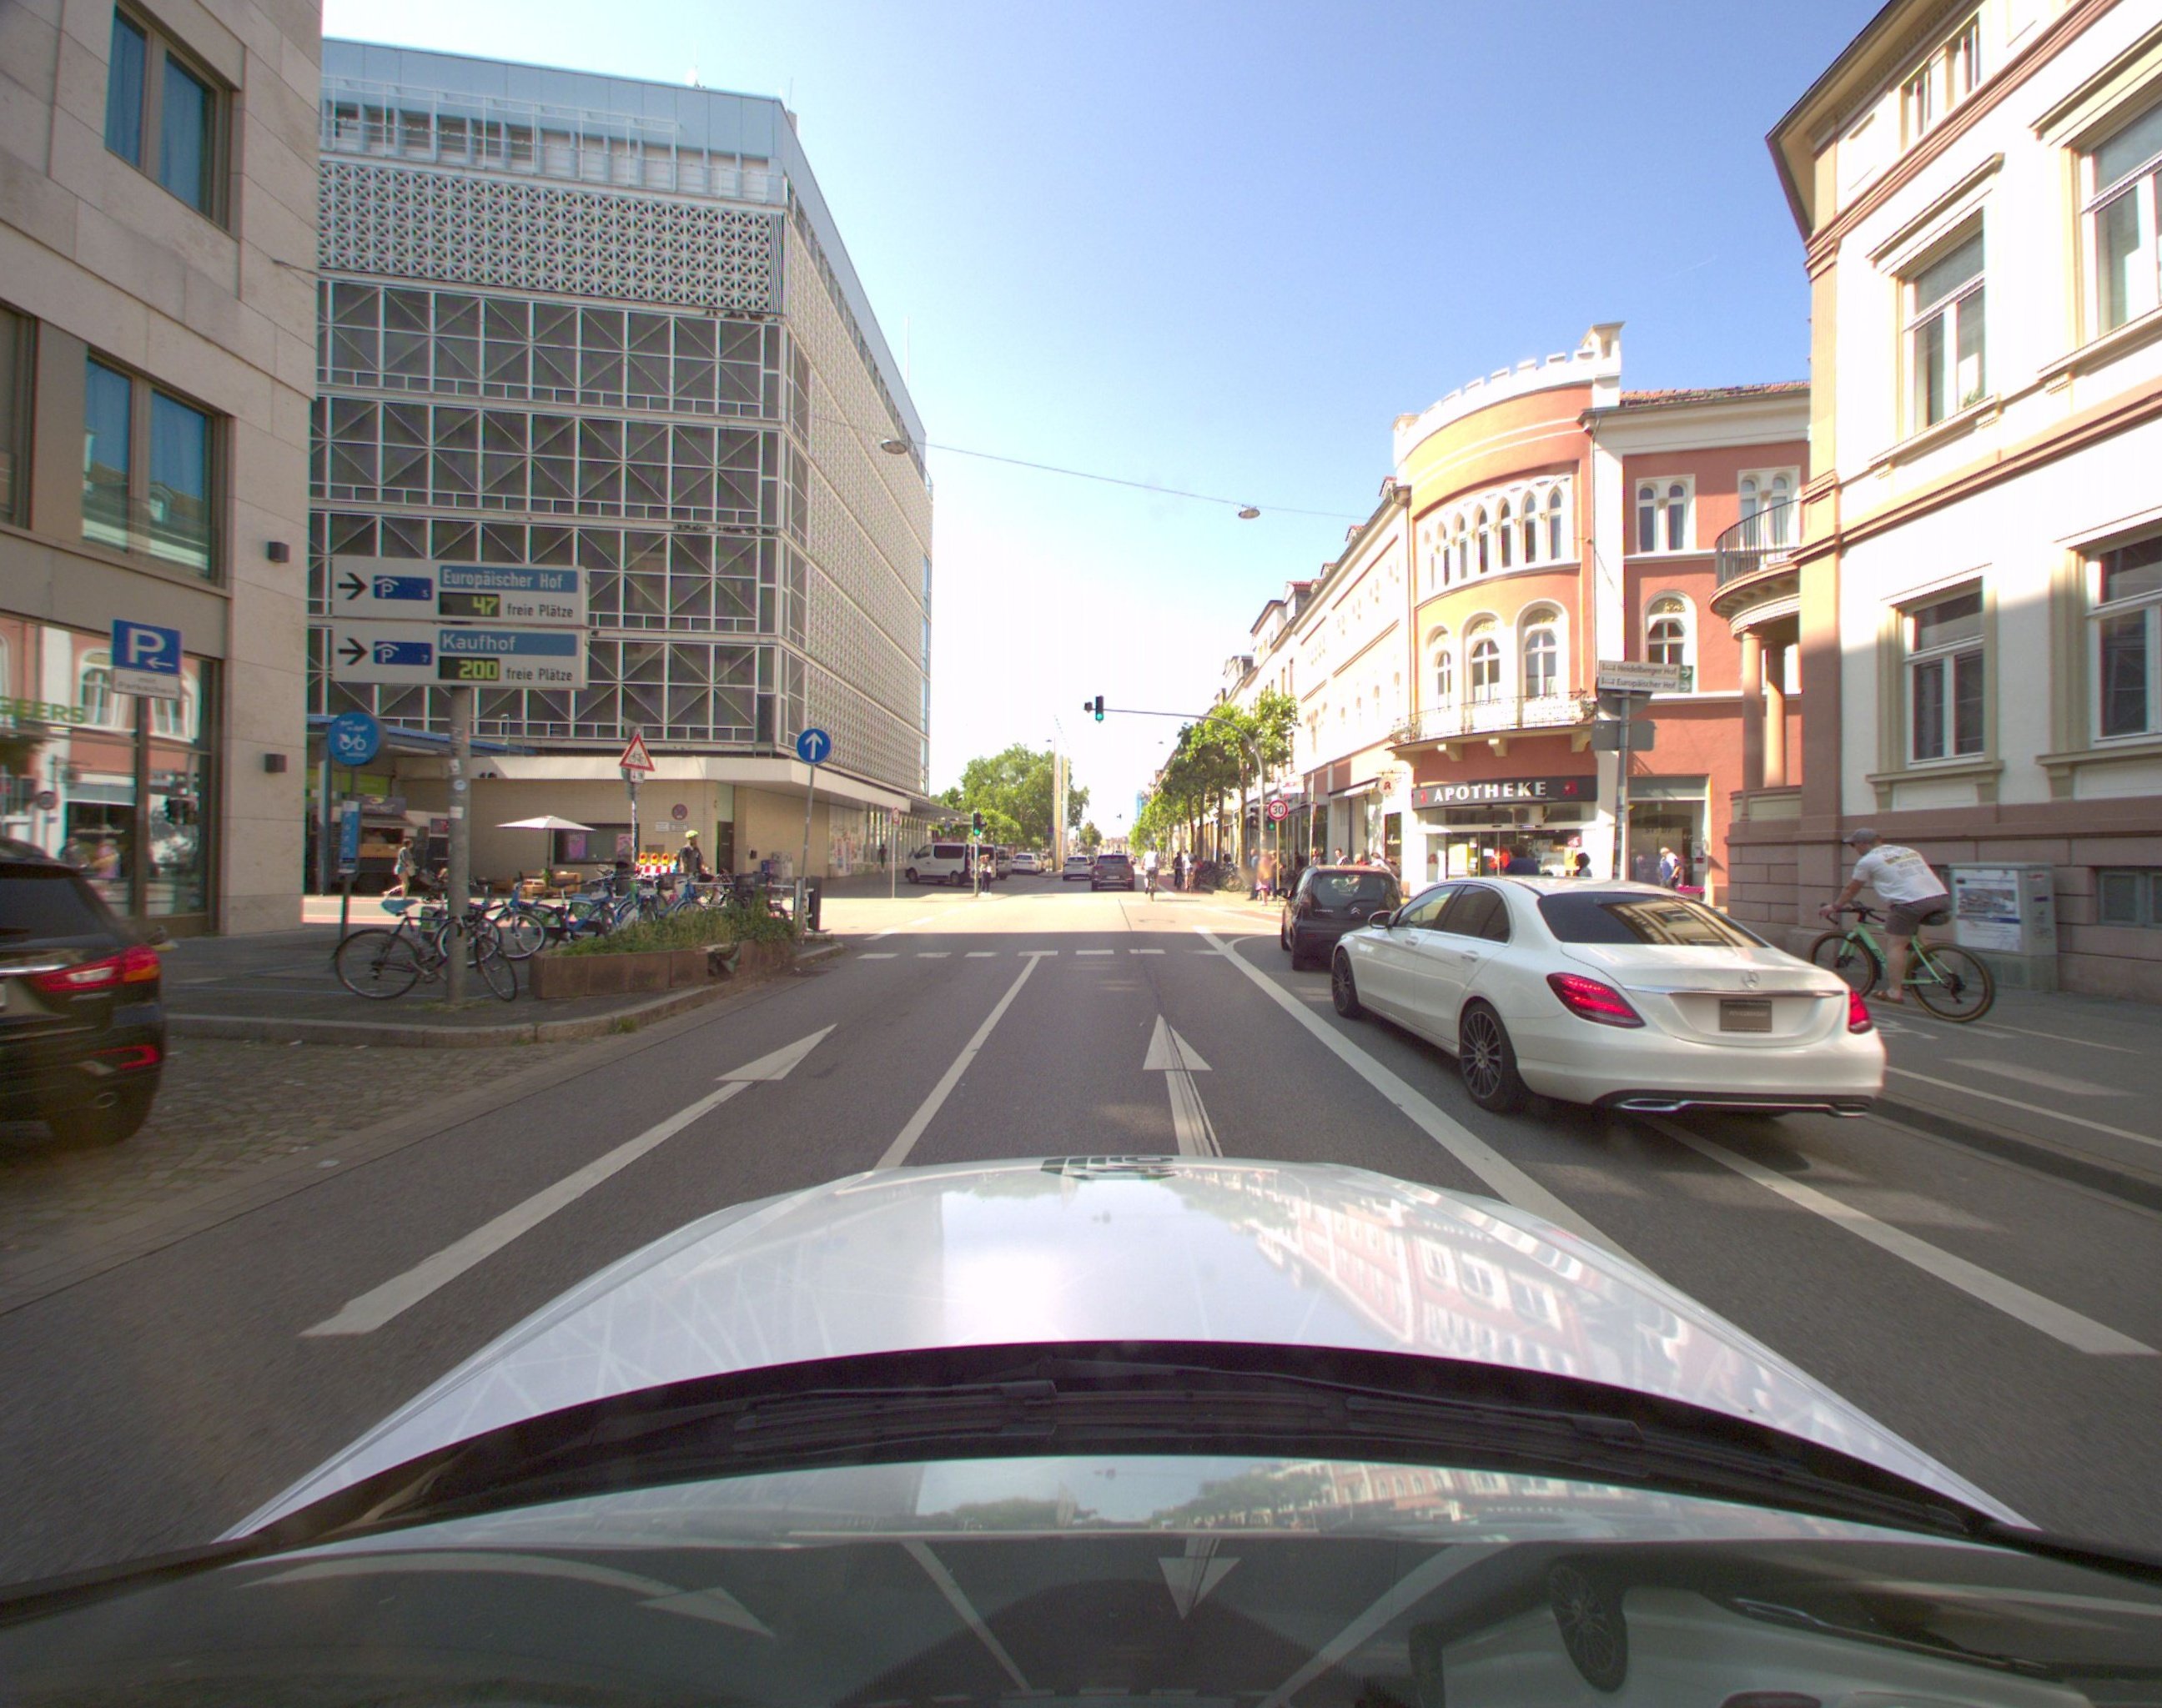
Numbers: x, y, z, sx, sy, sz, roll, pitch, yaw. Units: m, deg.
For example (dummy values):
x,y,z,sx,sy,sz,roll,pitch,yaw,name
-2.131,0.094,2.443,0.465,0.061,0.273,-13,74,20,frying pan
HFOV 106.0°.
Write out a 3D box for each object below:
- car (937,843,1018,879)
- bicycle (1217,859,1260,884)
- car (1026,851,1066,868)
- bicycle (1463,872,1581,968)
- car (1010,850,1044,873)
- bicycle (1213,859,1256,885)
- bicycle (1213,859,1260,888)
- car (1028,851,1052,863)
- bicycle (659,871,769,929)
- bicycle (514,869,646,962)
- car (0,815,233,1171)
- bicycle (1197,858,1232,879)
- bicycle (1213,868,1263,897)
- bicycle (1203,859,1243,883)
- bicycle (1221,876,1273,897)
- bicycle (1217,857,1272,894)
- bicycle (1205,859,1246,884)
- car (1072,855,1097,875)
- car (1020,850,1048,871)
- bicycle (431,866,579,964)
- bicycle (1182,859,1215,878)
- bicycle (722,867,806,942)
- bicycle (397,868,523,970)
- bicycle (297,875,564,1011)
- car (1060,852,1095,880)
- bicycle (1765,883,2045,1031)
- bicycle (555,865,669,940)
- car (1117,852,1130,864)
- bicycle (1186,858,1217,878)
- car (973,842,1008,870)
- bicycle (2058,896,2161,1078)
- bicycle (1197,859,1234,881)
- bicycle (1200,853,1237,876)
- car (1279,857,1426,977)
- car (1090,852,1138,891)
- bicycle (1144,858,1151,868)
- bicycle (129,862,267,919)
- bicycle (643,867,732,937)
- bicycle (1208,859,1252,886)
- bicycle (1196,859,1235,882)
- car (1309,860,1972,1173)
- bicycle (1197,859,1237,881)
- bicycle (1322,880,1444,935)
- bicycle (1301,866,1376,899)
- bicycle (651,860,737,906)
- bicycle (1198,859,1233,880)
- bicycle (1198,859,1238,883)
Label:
x,y,z,sx,sy,sz,roll,pitch,yaw,name
-5.855,0.347,45.705,4.389,1.909,2.022,1,1,39,car
7.087,0.796,36.592,1.832,1.127,0.667,0,-1,4,bicycle
-3.590,0.545,84.168,1.873,1.541,4.892,1,2,29,car
6.835,0.964,12.781,0.729,1.268,2.285,1,1,4,bicycle
-3.730,0.500,57.154,1.792,1.523,4.742,1,0,2,car
6.736,0.791,35.813,1.832,1.127,0.667,0,-1,4,bicycle
6.450,0.800,33.738,1.826,1.127,0.347,2,1,17,bicycle
-6.573,0.478,130.719,1.843,1.955,4.787,0,-1,23,car
-7.681,0.942,17.078,1.975,1.127,0.801,0,1,9,bicycle
-7.098,0.825,11.506,2.039,1.127,0.565,2,1,26,bicycle
-6.766,0.546,4.244,3.985,1.603,1.969,2,-1,25,car
7.260,0.812,44.329,1.831,1.127,0.449,0,-1,4,bicycle
6.346,1.159,32.938,1.842,0.397,1.019,8,-35,6,bicycle
6.691,0.803,38.440,1.832,1.127,0.667,0,-1,4,bicycle
6.544,1.298,32.129,1.142,0.434,1.842,-10,-5,-24,bicycle
6.064,0.785,30.214,1.833,1.188,0.721,5,3,40,bicycle
6.627,0.808,37.394,1.832,1.127,0.644,0,-1,4,bicycle
0.280,0.839,64.171,1.839,1.449,4.001,-1,0,2,car
-3.589,0.479,62.954,1.754,1.600,4.711,1,0,1,car
-7.788,0.778,10.979,2.300,1.127,0.565,2,0,26,bicycle
6.940,0.857,48.027,1.833,1.093,0.565,2,-1,2,bicycle
-5.513,0.834,14.099,0.608,1.173,2.039,2,-1,-43,bicycle
-7.896,0.783,10.331,1.843,1.127,0.487,2,1,26,bicycle
-6.035,0.805,7.594,2.131,1.127,0.485,2,1,3,bicycle
-0.156,0.681,47.862,1.838,1.560,4.003,-1,0,3,car
7.793,0.901,7.873,0.569,1.127,2.077,-2,1,-1,bicycle
-7.778,0.775,13.486,2.038,1.127,0.651,1,0,28,bicycle
6.321,0.570,121.224,1.838,1.668,4.001,2,0,1,car
6.906,0.813,46.672,1.853,1.127,0.588,1,-2,-34,bicycle
-6.692,0.142,60.720,1.825,2.013,4.688,1,0,3,car
7.330,0.902,4.241,0.745,1.127,3.244,-2,1,4,bicycle
7.126,0.845,43.072,1.827,1.127,0.532,2,-1,14,bicycle
6.923,0.531,40.960,1.829,1.127,0.681,0,0,8,bicycle
3.872,0.827,12.155,1.618,1.478,3.742,1,-1,11,car
1.328,0.687,34.295,1.840,1.559,3.999,-1,0,0,car
6.423,0.852,78.538,0.644,0.998,2.032,0,0,2,bicycle
-17.868,0.746,16.507,2.050,1.127,0.640,0,-4,2,bicycle
-7.086,0.825,14.610,2.038,1.169,0.609,-1,-1,39,bicycle
6.402,0.787,35.054,1.829,1.127,0.668,0,-1,9,bicycle
6.598,0.829,39.951,1.832,1.127,0.530,0,-1,4,bicycle
3.439,0.814,6.449,1.945,1.425,4.887,2,0,1,car
7.081,0.818,42.359,1.971,1.127,0.764,0,-1,15,bicycle
6.815,1.177,18.438,2.543,1.127,0.631,1,-1,20,bicycle
6.768,0.753,21.458,1.814,0.844,0.501,0,0,2,bicycle
-11.671,0.858,24.590,2.223,1.267,0.727,-2,1,-39,bicycle
7.259,0.810,43.869,1.831,1.127,0.449,0,-1,4,bicycle
6.600,0.824,39.255,1.832,1.127,0.667,0,-1,4,bicycle
